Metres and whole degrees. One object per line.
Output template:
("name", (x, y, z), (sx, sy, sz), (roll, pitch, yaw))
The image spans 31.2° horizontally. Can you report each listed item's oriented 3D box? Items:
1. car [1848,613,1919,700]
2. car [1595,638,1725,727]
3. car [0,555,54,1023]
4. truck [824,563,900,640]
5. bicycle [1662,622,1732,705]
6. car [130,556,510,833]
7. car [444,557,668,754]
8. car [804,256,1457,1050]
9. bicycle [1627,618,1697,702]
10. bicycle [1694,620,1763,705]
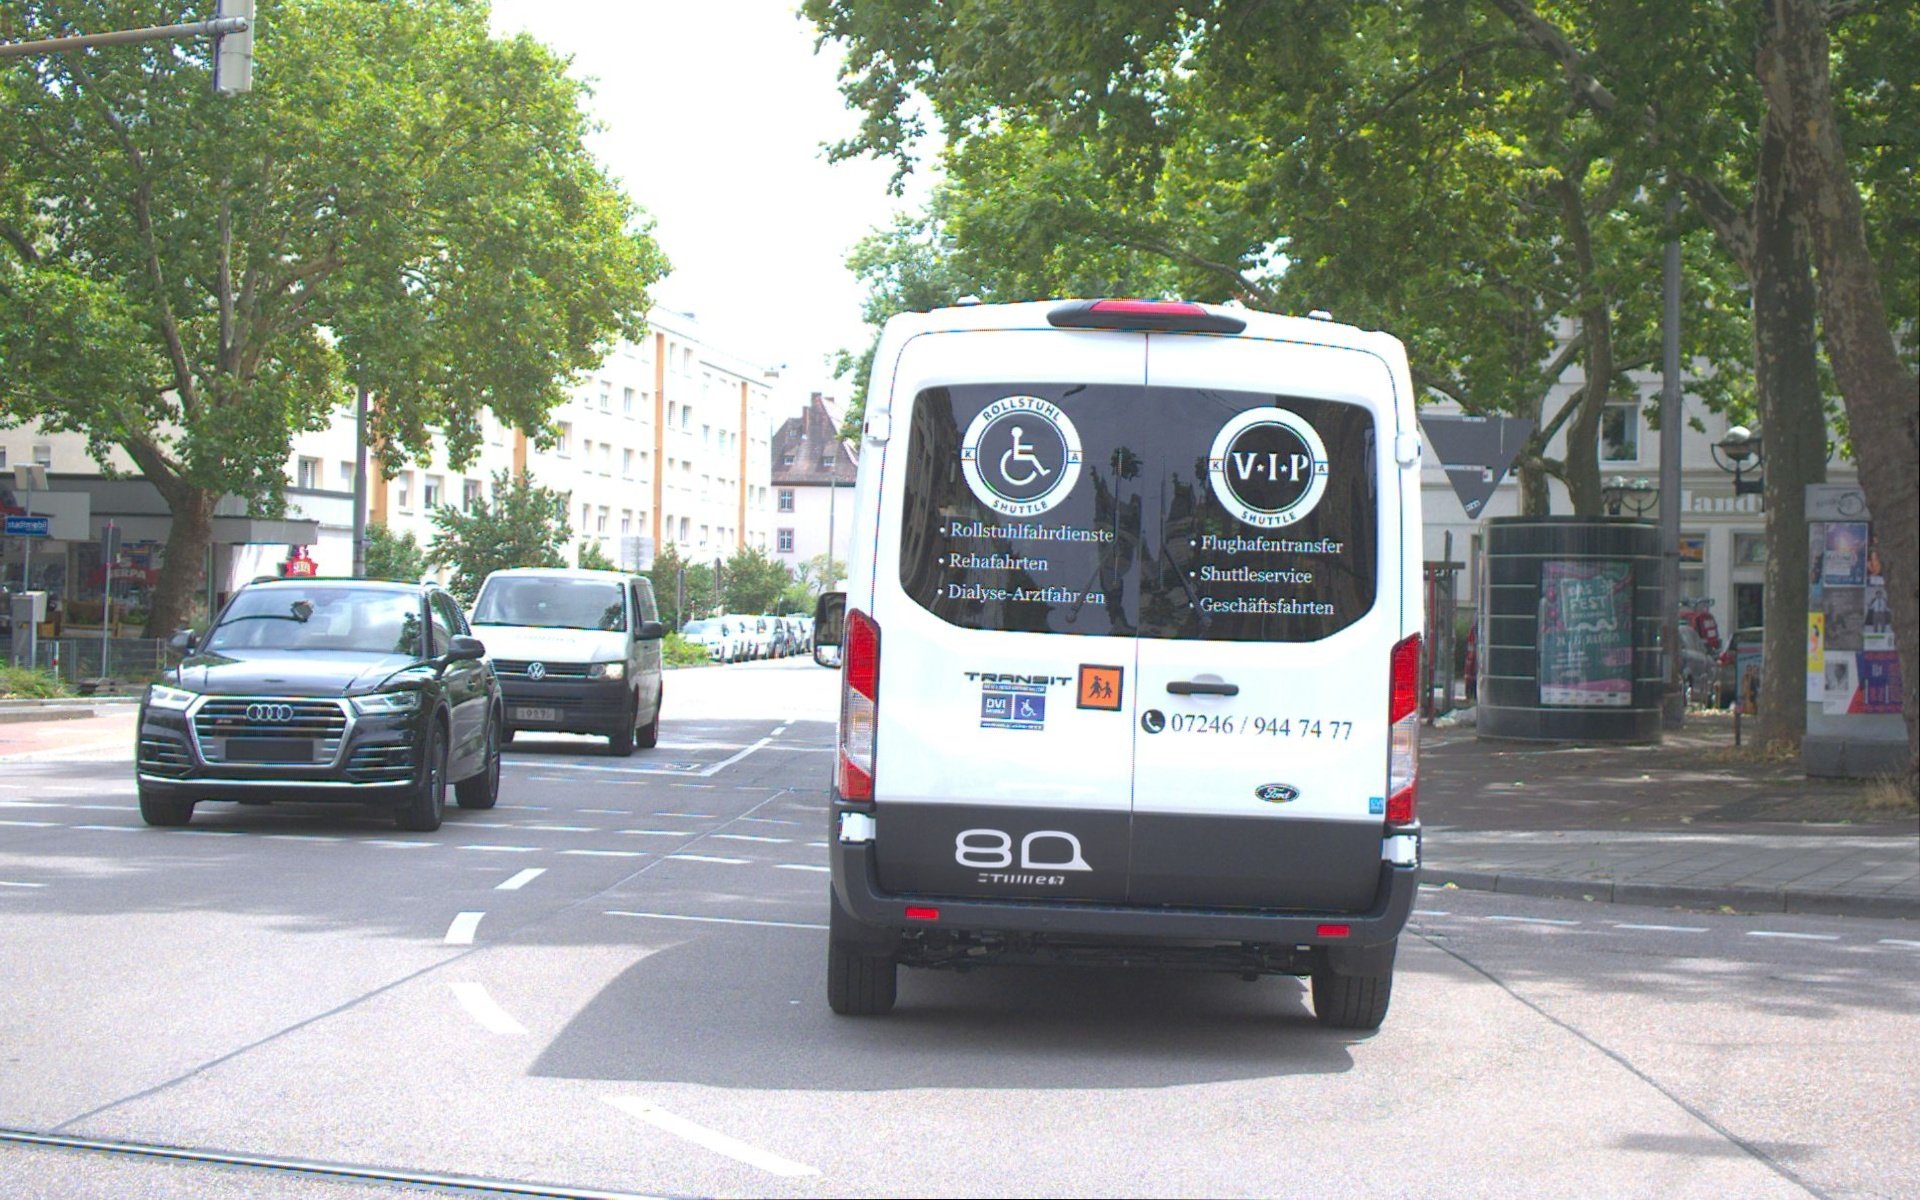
("car", (16.804, 0.981, 60.418), (1.995, 1.459, 3.996), (1, 0, 19))
("car", (12.961, 1.493, 63.503), (1.829, 1.547, 3.996), (1, 0, 19))
("car", (-3.961, 0.616, 9.382), (1.763, 1.518, 4.848), (1, 0, -1))
("truck", (-4.069, 0.088, 143.619), (2.541, 3.097, 7.019), (-1, 0, 3))
("bicycle", (12.404, 1.062, 57.792), (0.419, 1.373, 2.307), (1, 0, 31))
("car", (-4.204, 0.565, 23.259), (1.822, 1.642, 4.428), (2, 0, -2))
("car", (-4.290, 0.548, 37.185), (1.923, 1.930, 4.948), (2, 0, -2))
("car", (0.597, 0.208, 13.438), (2.070, 2.532, 4.634), (1, -1, 1))
("bicycle", (11.877, 0.999, 58.118), (0.419, 1.373, 2.307), (1, 0, 31))
("bicycle", (12.859, 1.028, 57.473), (0.419, 1.373, 2.307), (1, 0, 31))
